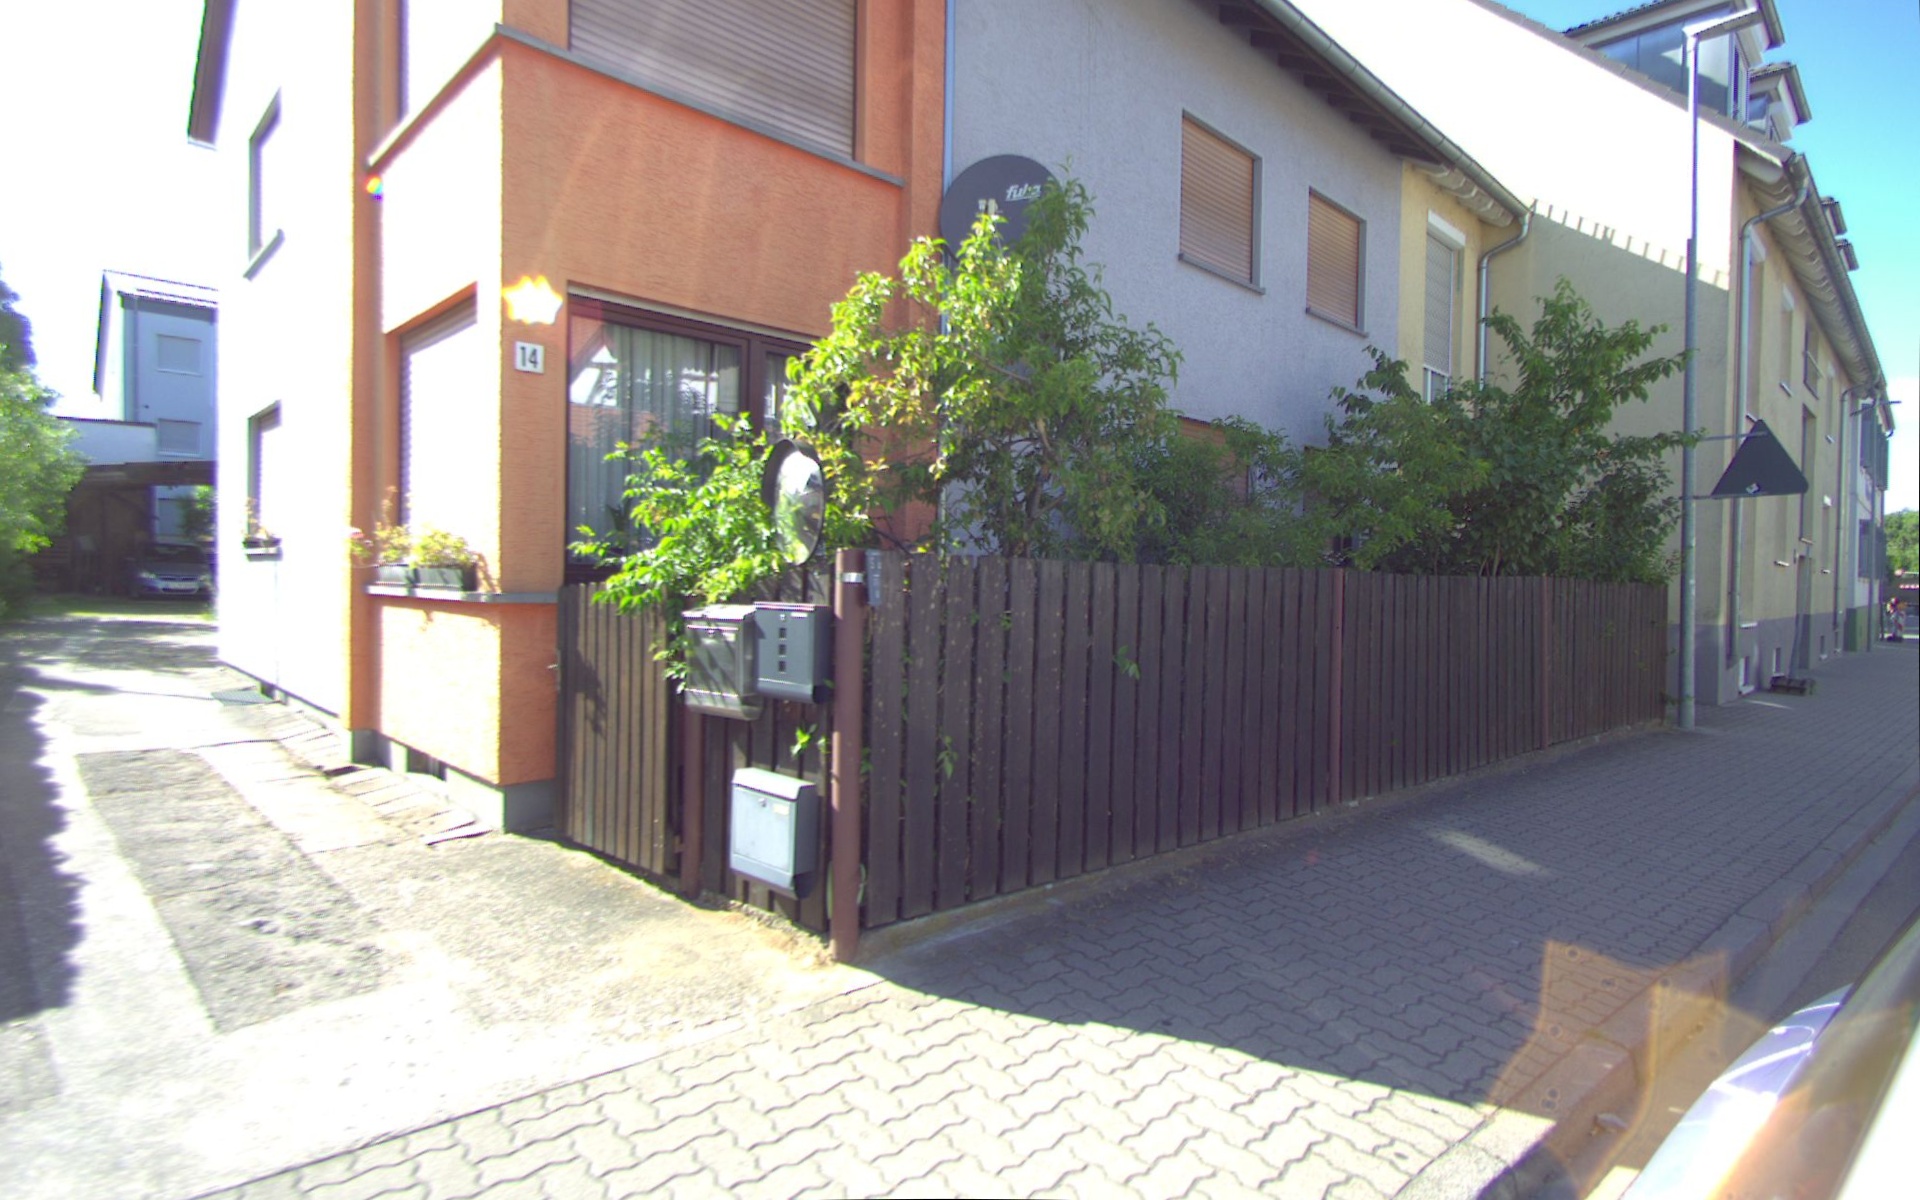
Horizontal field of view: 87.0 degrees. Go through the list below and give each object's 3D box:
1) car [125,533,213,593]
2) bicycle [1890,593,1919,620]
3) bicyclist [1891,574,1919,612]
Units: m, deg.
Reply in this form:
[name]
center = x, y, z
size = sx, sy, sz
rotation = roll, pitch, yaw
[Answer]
[car]
center = -21.738, -0.950, 27.764
size = 1.578, 1.435, 3.990
rotation = 0, -1, -43
[bicycle]
center = 58.241, 0.391, 62.190
size = 1.251, 1.571, 3.944
rotation = -1, -1, 39
[bicyclist]
center = 58.278, -0.410, 62.283
size = 1.251, 2.337, 1.225
rotation = -1, -1, 38
